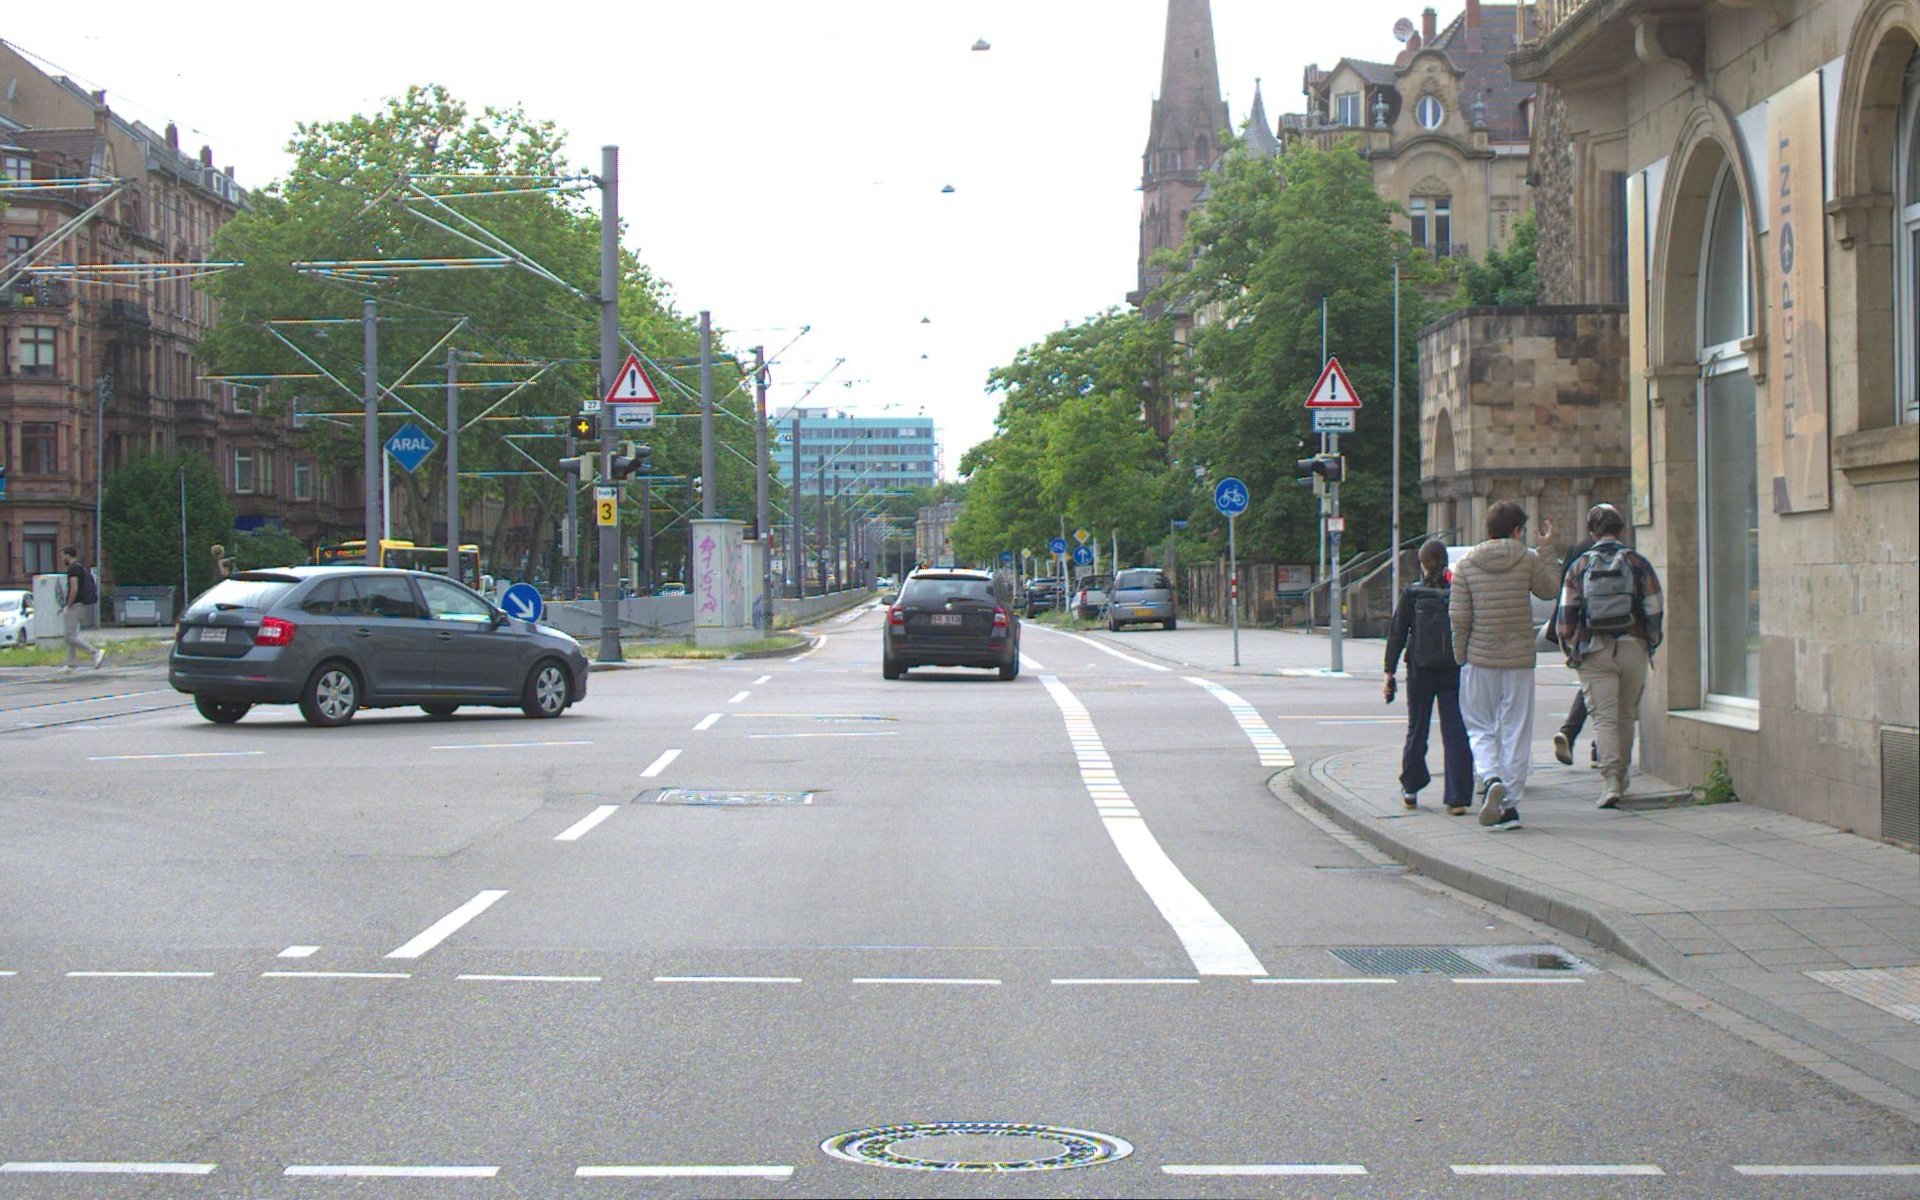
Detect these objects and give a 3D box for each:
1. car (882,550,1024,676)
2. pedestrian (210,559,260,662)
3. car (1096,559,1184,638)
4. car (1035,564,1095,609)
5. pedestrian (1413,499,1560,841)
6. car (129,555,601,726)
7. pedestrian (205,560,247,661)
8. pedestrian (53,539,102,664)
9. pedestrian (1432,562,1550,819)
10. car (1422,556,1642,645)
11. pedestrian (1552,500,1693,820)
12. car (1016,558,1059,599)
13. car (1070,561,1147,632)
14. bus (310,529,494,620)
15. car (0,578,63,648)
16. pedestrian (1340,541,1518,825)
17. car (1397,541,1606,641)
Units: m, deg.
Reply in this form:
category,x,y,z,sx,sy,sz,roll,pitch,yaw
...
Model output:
category,x,y,z,sx,sy,sz,roll,pitch,yaw
car,-0.109,0.155,46.319,1.806,1.581,4.341,1,0,-1
pedestrian,-10.912,0.152,51.746,0.653,1.532,0.466,1,0,-5
car,4.688,-0.045,90.064,1.993,2.007,4.000,1,0,-1
car,3.905,-0.506,128.488,1.993,1.602,4.164,-2,0,-1
pedestrian,2.890,0.370,18.818,0.583,1.807,1.014,1,0,19
car,-5.455,0.356,31.853,1.840,1.464,3.982,1,0,43
pedestrian,-11.160,0.159,52.271,0.545,1.532,0.466,1,0,-5
pedestrian,-12.671,0.022,49.372,0.573,1.788,0.519,1,0,-5
pedestrian,3.363,0.559,21.825,0.700,1.587,0.831,1,0,8
car,10.768,0.002,64.912,3.799,1.595,2.000,1,0,0
pedestrian,3.822,0.337,19.901,0.626,1.772,1.134,-3,0,7
car,3.875,-1.073,172.323,1.993,2.007,4.000,1,0,-1
car,4.281,-0.109,99.675,1.993,2.007,4.000,1,0,-1
bus,-20.095,-0.905,124.838,3.085,3.101,13.091,1,0,7
car,-22.078,0.274,79.088,1.894,1.552,3.836,1,0,-1
pedestrian,2.812,0.481,20.563,0.627,1.647,0.994,1,0,37
car,10.731,-0.178,68.321,3.799,1.897,2.000,1,0,0
